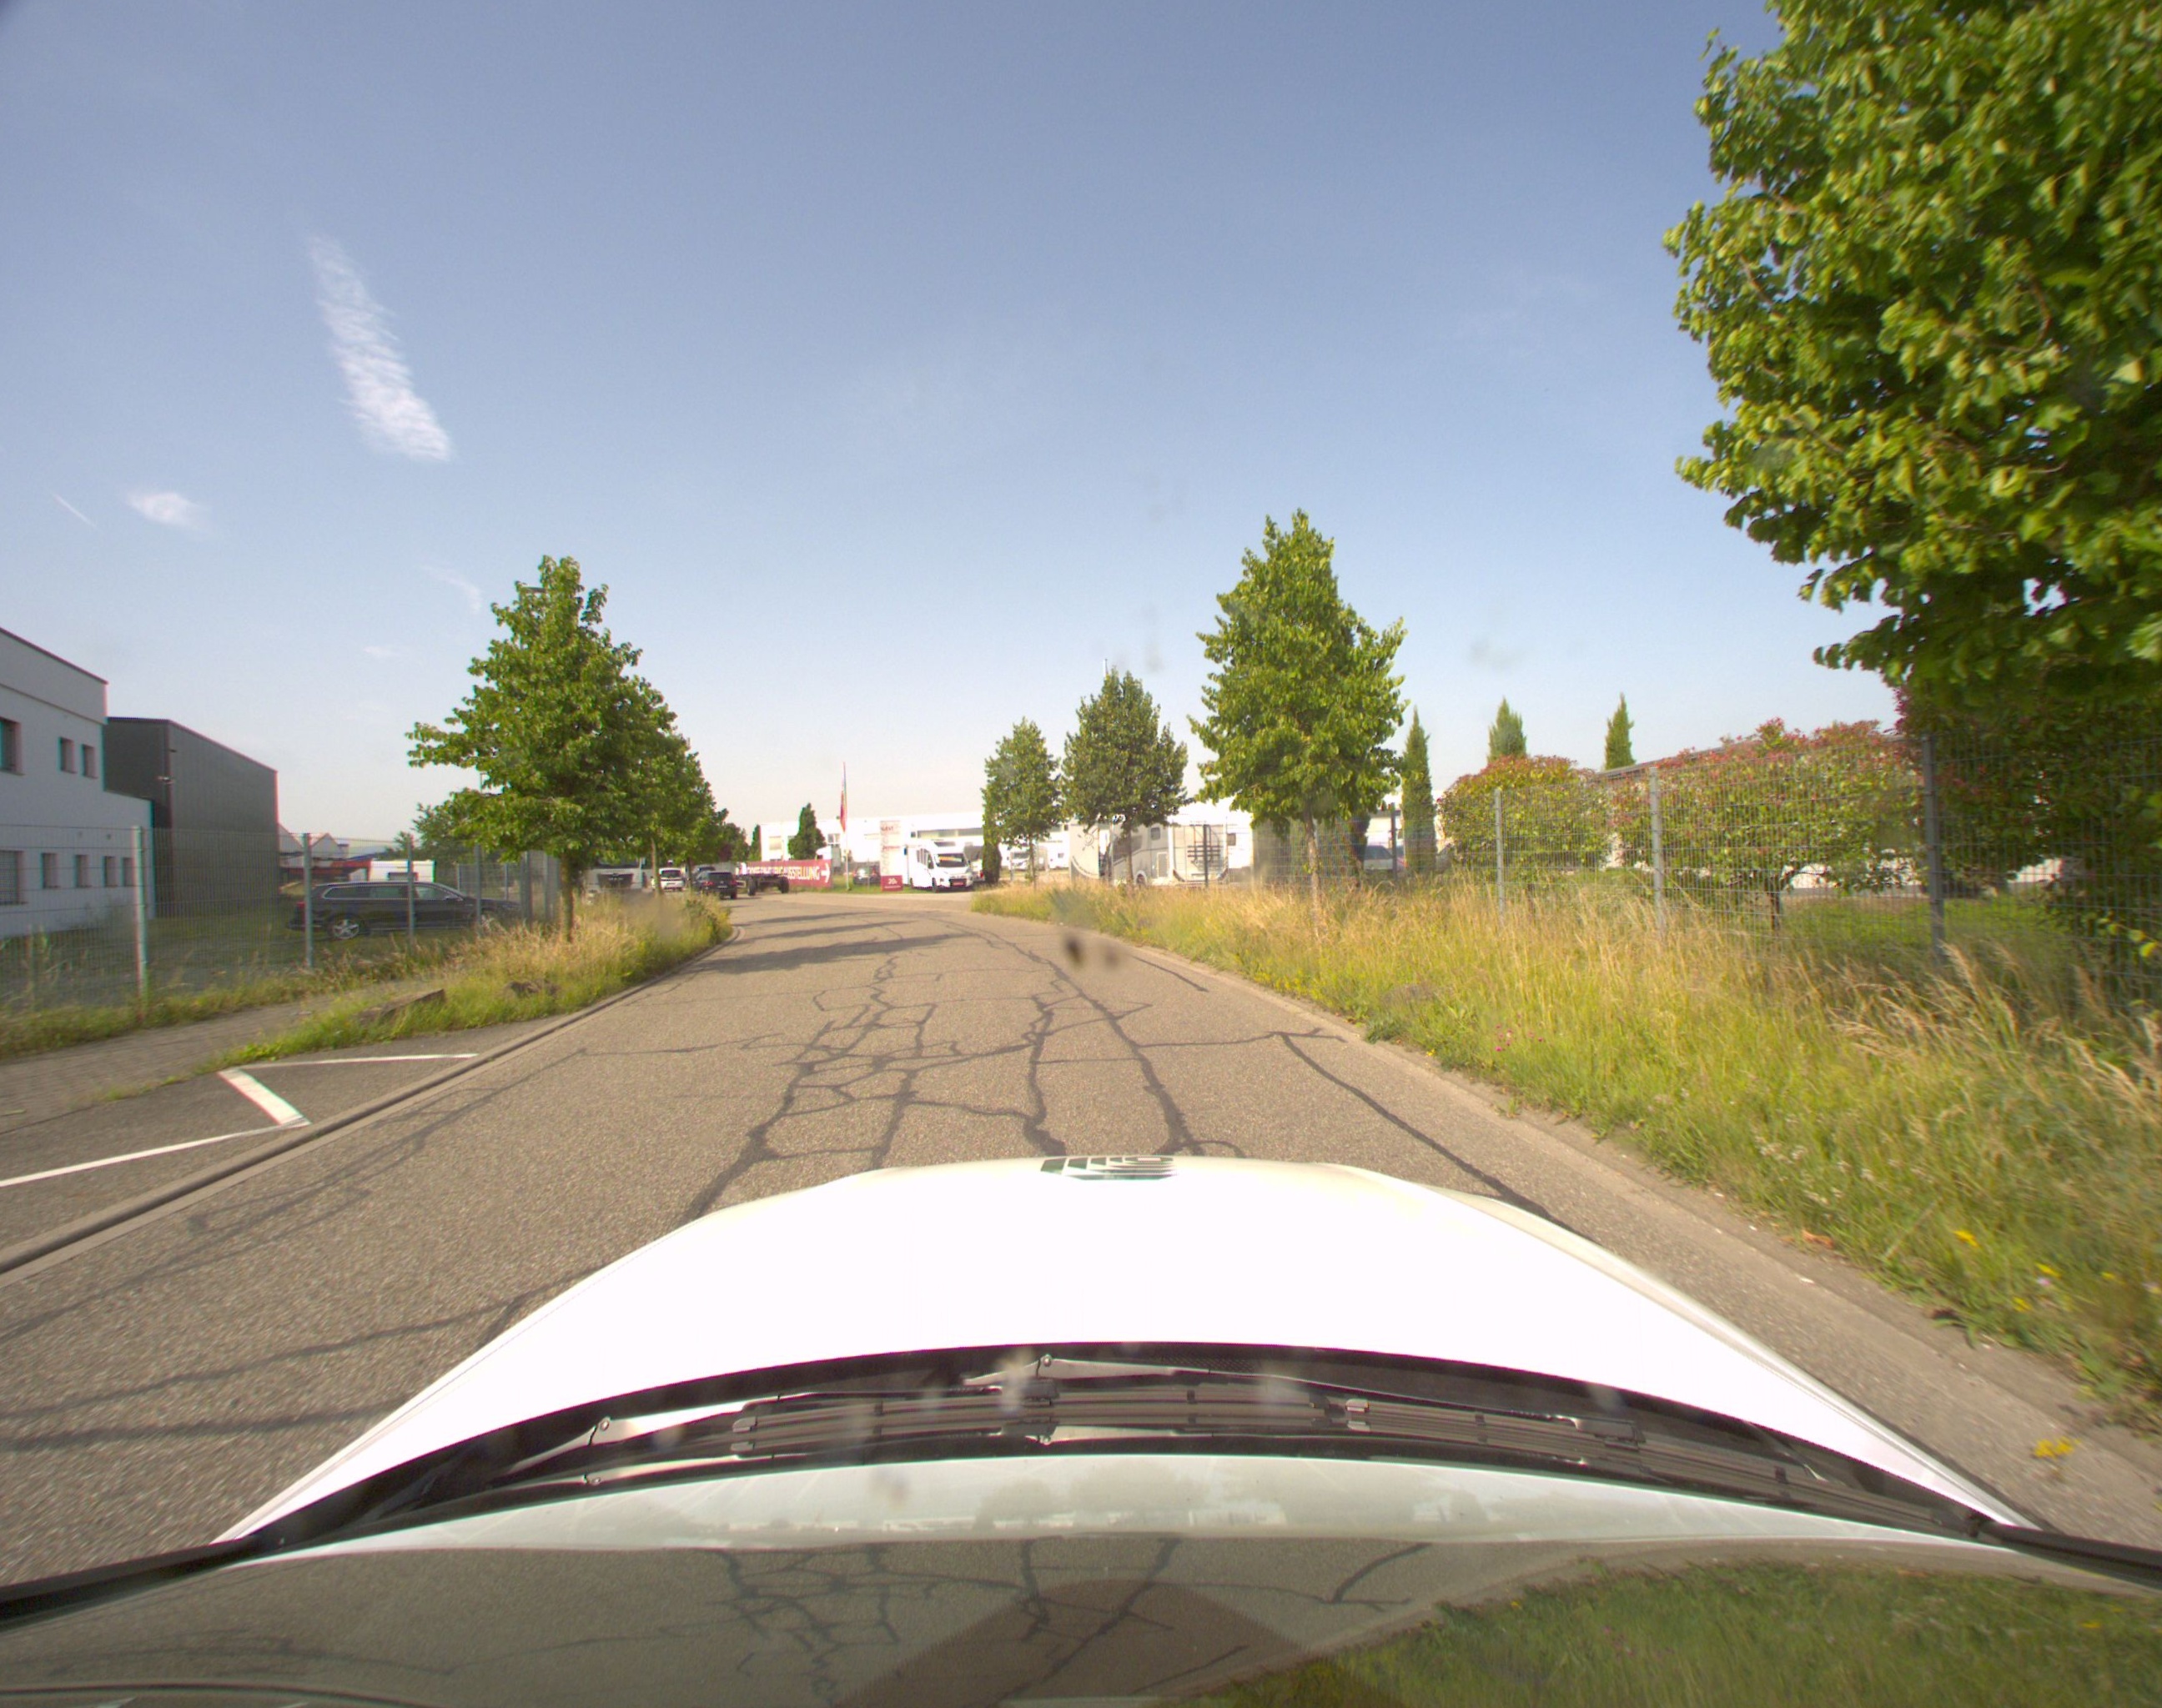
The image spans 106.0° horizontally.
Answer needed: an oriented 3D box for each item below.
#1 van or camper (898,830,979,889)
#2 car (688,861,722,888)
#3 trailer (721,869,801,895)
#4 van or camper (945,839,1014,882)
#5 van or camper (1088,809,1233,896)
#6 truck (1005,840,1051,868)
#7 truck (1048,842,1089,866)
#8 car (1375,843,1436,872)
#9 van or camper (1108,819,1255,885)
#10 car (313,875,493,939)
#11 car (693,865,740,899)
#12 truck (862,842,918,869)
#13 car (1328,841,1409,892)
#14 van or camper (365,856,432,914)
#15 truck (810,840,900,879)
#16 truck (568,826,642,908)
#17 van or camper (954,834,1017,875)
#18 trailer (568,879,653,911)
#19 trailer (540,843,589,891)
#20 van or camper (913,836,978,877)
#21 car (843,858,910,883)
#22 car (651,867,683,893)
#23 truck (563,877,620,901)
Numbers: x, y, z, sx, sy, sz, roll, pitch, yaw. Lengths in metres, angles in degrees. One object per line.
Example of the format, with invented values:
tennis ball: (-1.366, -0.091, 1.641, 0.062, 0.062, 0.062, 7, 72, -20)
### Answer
van or camper: (-7.967, 0.326, 44.955, 2.344, 2.943, 6.908, -2, 0, -28)
car: (-31.339, 1.688, 67.776, 1.832, 1.978, 3.958, -6, 3, -34)
trailer: (-21.164, 1.783, 53.455, 2.644, 1.388, 9.350, -5, 2, -36)
van or camper: (-6.456, 0.336, 52.721, 2.468, 2.558, 6.644, -2, 1, 10)
van or camper: (2.743, -0.026, 30.730, 2.358, 2.848, 7.289, -2, 0, -21)
truck: (-5.094, -0.039, 80.126, 2.435, 2.471, 8.026, -2, 0, 11)
truck: (-1.147, -0.056, 82.175, 2.435, 2.265, 8.026, -2, 0, 11)
car: (16.372, 0.156, 41.283, 1.702, 1.379, 4.004, 0, 0, 4)
van or camper: (5.127, -0.092, 42.184, 7.227, 3.032, 2.588, -2, 0, 3)
car: (-17.662, 1.325, 21.402, 3.521, 1.454, 1.578, -1, -1, -38)
car: (-21.218, 1.607, 47.298, 2.006, 1.804, 3.961, -3, 0, -30)
truck: (-19.188, 0.095, 82.393, 2.435, 2.471, 8.026, -2, 0, 11)
car: (9.957, 0.402, 28.489, 1.714, 1.643, 4.005, -1, 1, 4)
van or camper: (-33.076, 1.464, 39.606, 2.324, 2.560, 4.896, -2, 0, -39)
truck: (-24.887, 0.602, 89.798, 9.233, 3.972, 2.464, -2, 0, 7)
truck: (-26.700, 0.734, 45.343, 2.645, 3.929, 12.780, -1, 0, -34)
van or camper: (-7.692, -0.014, 67.066, 2.931, 3.084, 7.991, -2, 1, 9)
trailer: (-20.239, 1.713, 34.930, 2.594, 1.100, 5.143, -2, 0, -36)
trailer: (-51.460, 1.340, 80.897, 3.429, 4.340, 13.768, -2, 0, -35)
van or camper: (-11.103, 0.113, 67.573, 2.781, 3.084, 7.991, -2, 1, 9)
car: (-13.380, 1.056, 53.489, 2.146, 1.476, 4.023, -2, 0, 25)
car: (-32.681, 2.034, 64.223, 2.006, 1.899, 4.424, -2, 0, -30)
truck: (-31.377, 2.207, 52.069, 2.544, 1.265, 6.454, -2, 0, -36)
